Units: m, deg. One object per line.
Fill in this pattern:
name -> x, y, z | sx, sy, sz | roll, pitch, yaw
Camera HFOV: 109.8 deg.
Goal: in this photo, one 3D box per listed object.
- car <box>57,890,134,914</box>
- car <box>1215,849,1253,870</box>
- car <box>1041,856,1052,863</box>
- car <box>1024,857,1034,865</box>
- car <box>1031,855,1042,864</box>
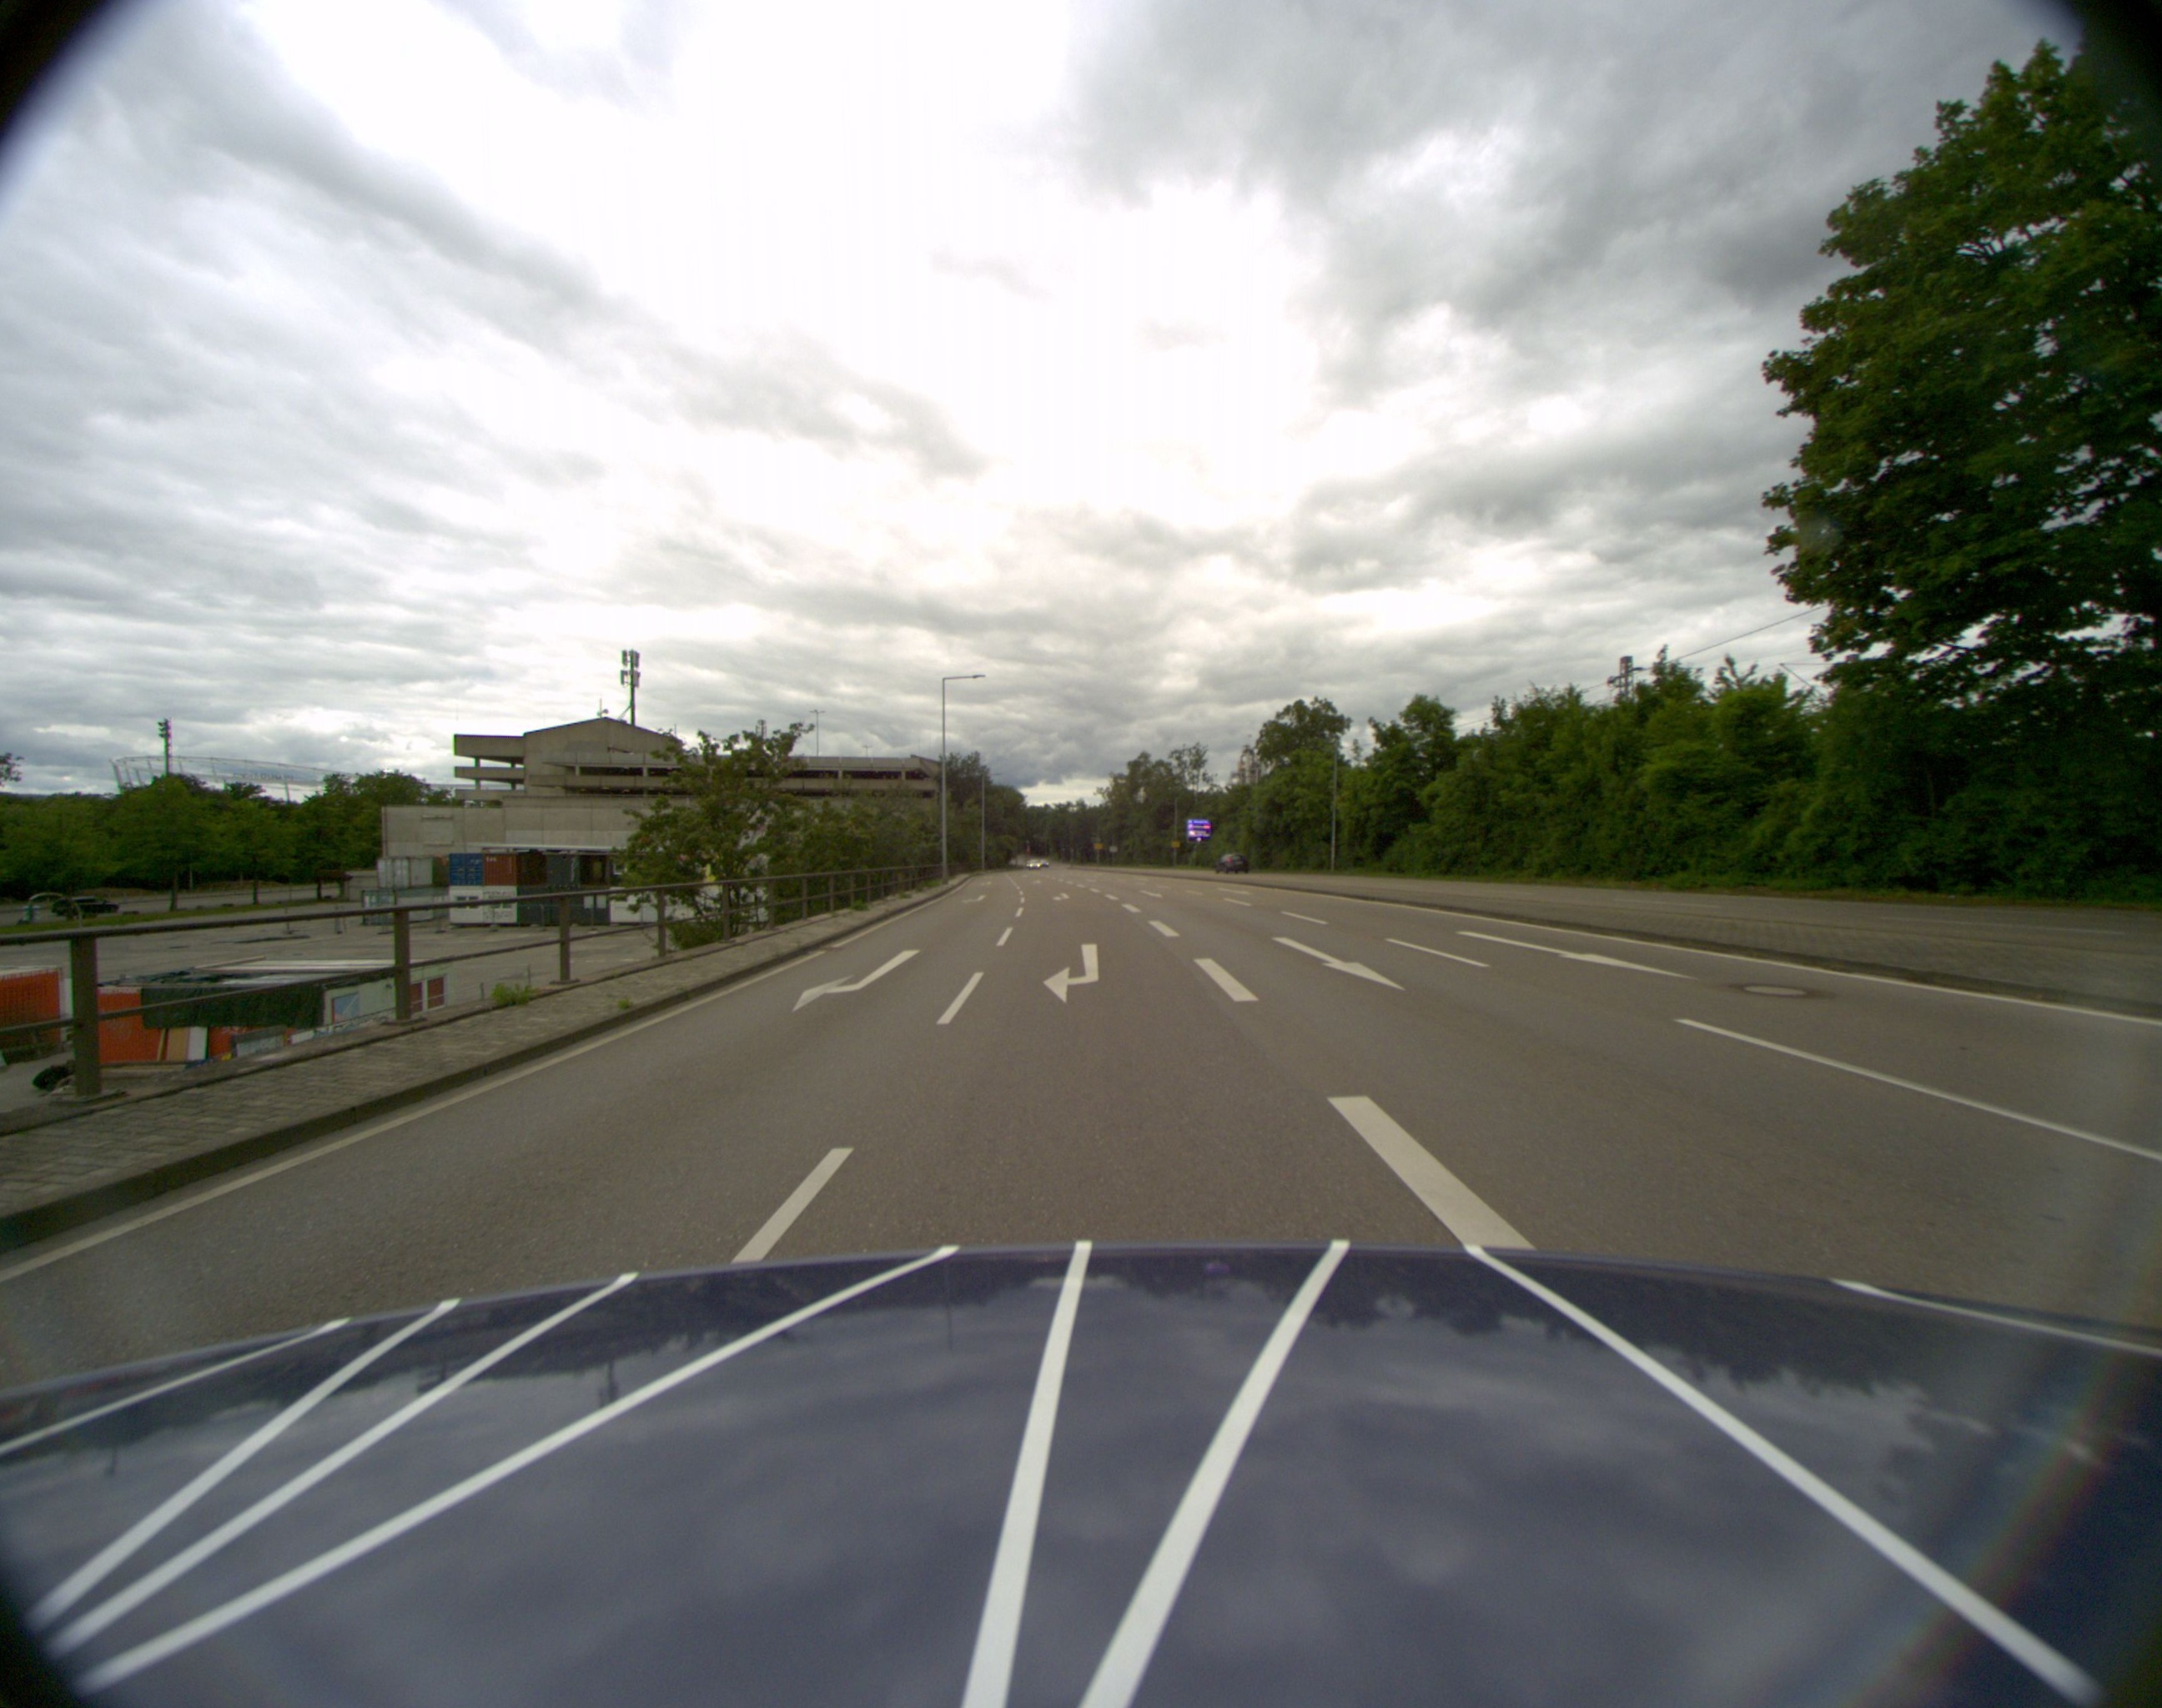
car -> -92.889, 4.511, 71.690 | 1.999, 1.805, 3.997 | -5, 1, -6
car -> 11.383, 0.407, 56.808 | 1.704, 1.455, 3.998 | -2, 1, -5
car -> -6.962, 1.125, 151.940 | 1.843, 1.408, 4.577 | -1, 0, -7
car -> -10.221, 1.384, 149.224 | 1.865, 1.408, 4.336 | -1, 0, -5
car -> -6.662, 0.816, 113.615 | 1.610, 1.408, 3.589 | -1, 0, -5
